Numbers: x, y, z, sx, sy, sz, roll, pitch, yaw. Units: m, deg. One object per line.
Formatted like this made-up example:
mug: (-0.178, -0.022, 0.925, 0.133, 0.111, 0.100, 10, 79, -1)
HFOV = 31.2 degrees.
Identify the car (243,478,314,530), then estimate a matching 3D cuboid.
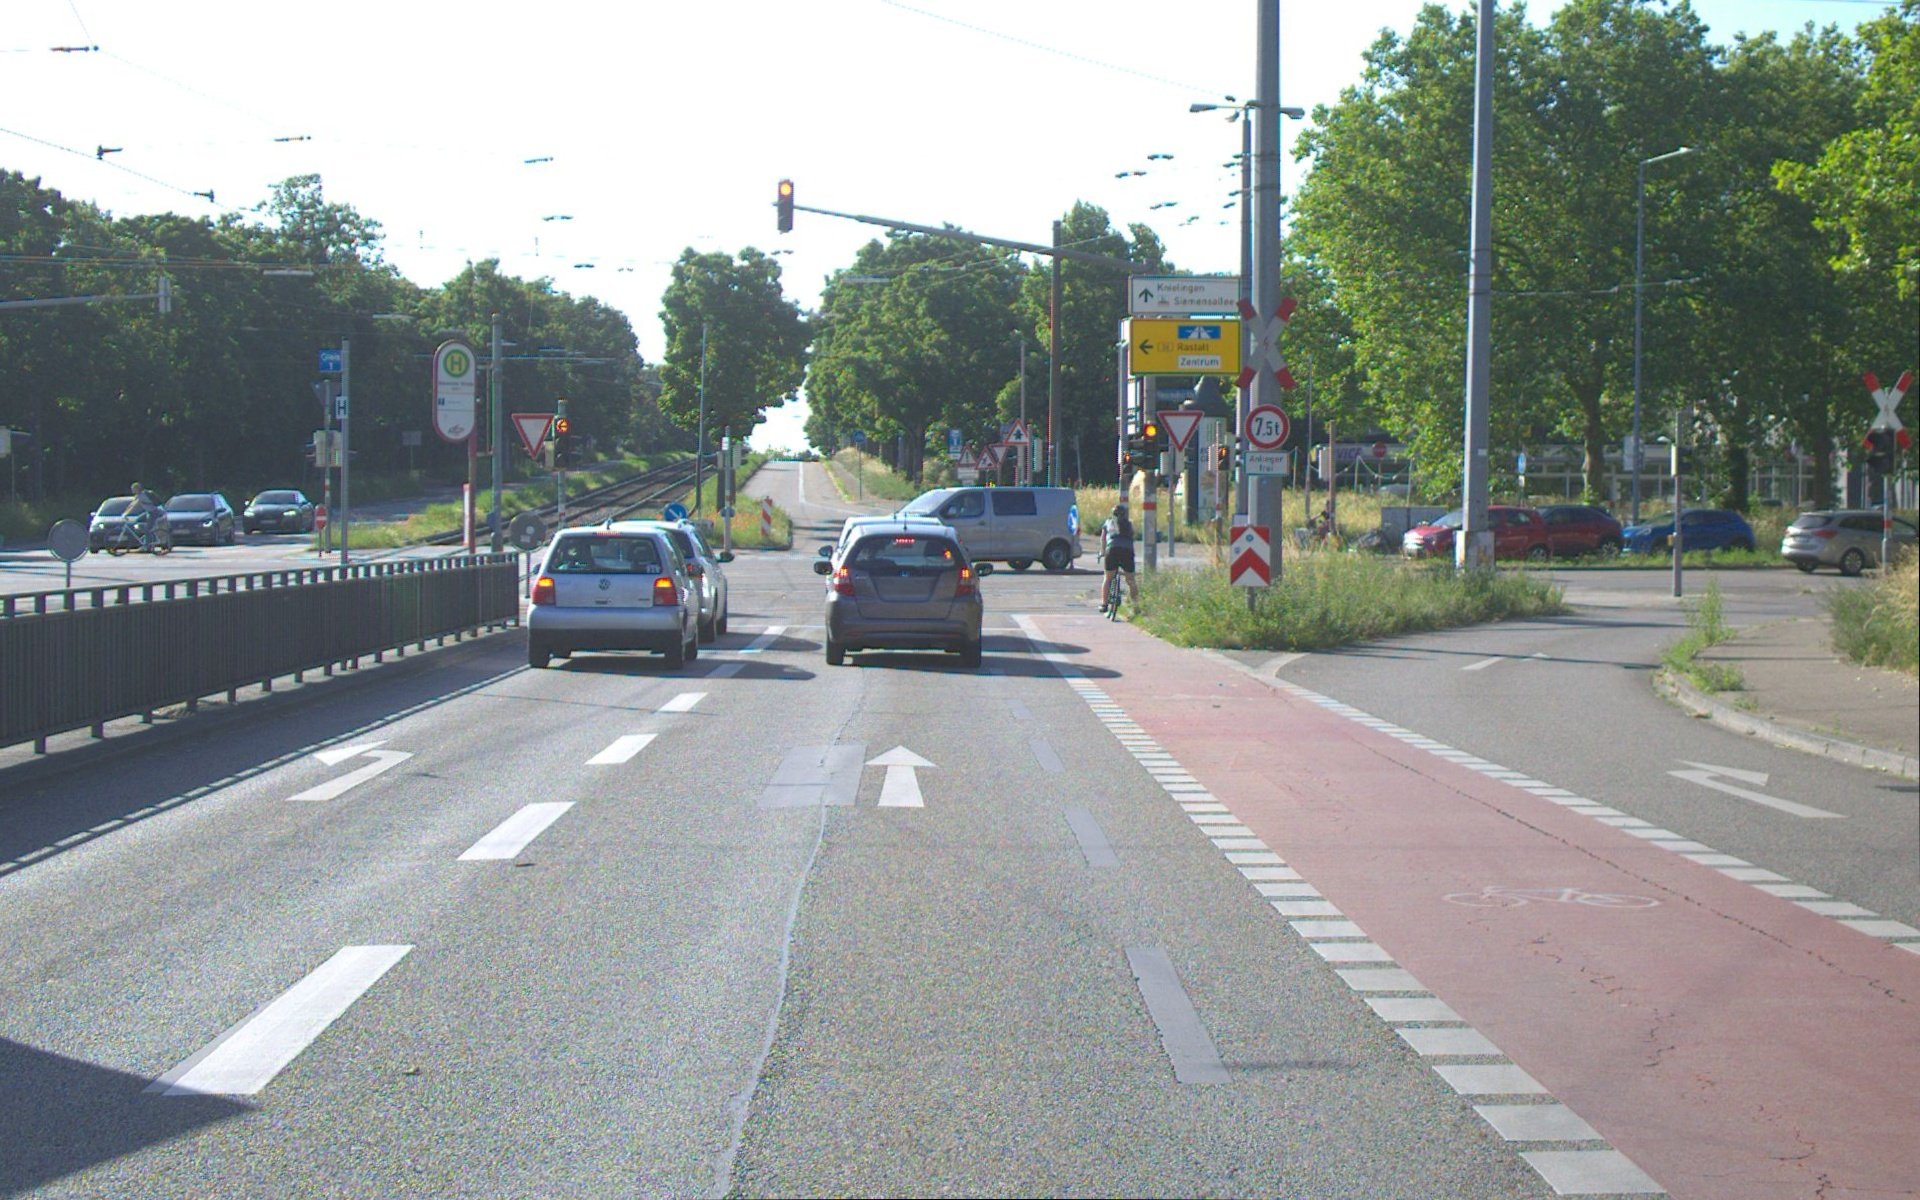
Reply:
car: (-22.340, -3.162, 112.811, 1.993, 1.599, 4.757, 1, 2, -8)

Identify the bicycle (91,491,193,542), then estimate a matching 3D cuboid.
bicycle: (-20.402, -2.079, 85.733, 2.395, 1.258, 0.817, 0, 2, -18)

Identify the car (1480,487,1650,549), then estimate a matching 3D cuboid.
car: (15.252, -2.091, 86.670, 3.986, 1.525, 1.606, -1, 2, -23)

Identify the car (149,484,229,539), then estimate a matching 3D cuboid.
car: (-22.286, -2.566, 99.475, 1.832, 1.543, 4.286, 0, 2, -7)

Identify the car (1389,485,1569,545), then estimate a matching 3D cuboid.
car: (12.440, -2.030, 82.332, 4.002, 1.398, 1.610, 0, 2, -24)

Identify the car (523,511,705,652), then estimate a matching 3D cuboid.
car: (-3.593, -0.219, 36.181, 1.619, 1.413, 3.351, 0, 1, -1)

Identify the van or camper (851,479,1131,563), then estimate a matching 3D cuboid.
van or camper: (0.709, -1.761, 76.899, 5.966, 1.822, 2.001, 0, 2, -26)

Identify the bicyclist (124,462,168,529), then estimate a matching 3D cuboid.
bicyclist: (-20.305, -2.602, 85.767, 1.006, 1.642, 0.817, 0, 2, -18)

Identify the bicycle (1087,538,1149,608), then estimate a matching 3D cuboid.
bicycle: (2.366, -0.416, 51.721, 0.722, 0.985, 2.876, 2, 1, -1)

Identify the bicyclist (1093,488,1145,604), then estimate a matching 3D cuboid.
bicyclist: (2.381, -0.818, 51.632, 0.666, 1.710, 0.948, 2, 1, -1)

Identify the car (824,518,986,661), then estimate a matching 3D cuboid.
car: (-0.652, -0.149, 37.857, 1.668, 1.456, 3.587, 1, 2, -3)

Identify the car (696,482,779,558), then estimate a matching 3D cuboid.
car: (-6.176, -2.224, 95.767, 1.993, 2.007, 4.492, 2, 1, 0)

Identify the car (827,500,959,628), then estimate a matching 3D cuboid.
car: (-0.858, -0.501, 44.488, 1.611, 1.557, 4.288, 1, 2, -1)

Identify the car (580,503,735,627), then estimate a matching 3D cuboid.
car: (-3.752, -0.469, 43.215, 1.619, 1.452, 4.085, 1, 1, -1)

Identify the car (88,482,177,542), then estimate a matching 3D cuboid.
car: (-21.802, -2.318, 90.690, 1.832, 1.543, 4.001, 0, 2, -7)

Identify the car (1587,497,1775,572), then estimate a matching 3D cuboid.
car: (19.796, -1.799, 94.354, 4.686, 1.873, 2.001, 1, 1, -23)
